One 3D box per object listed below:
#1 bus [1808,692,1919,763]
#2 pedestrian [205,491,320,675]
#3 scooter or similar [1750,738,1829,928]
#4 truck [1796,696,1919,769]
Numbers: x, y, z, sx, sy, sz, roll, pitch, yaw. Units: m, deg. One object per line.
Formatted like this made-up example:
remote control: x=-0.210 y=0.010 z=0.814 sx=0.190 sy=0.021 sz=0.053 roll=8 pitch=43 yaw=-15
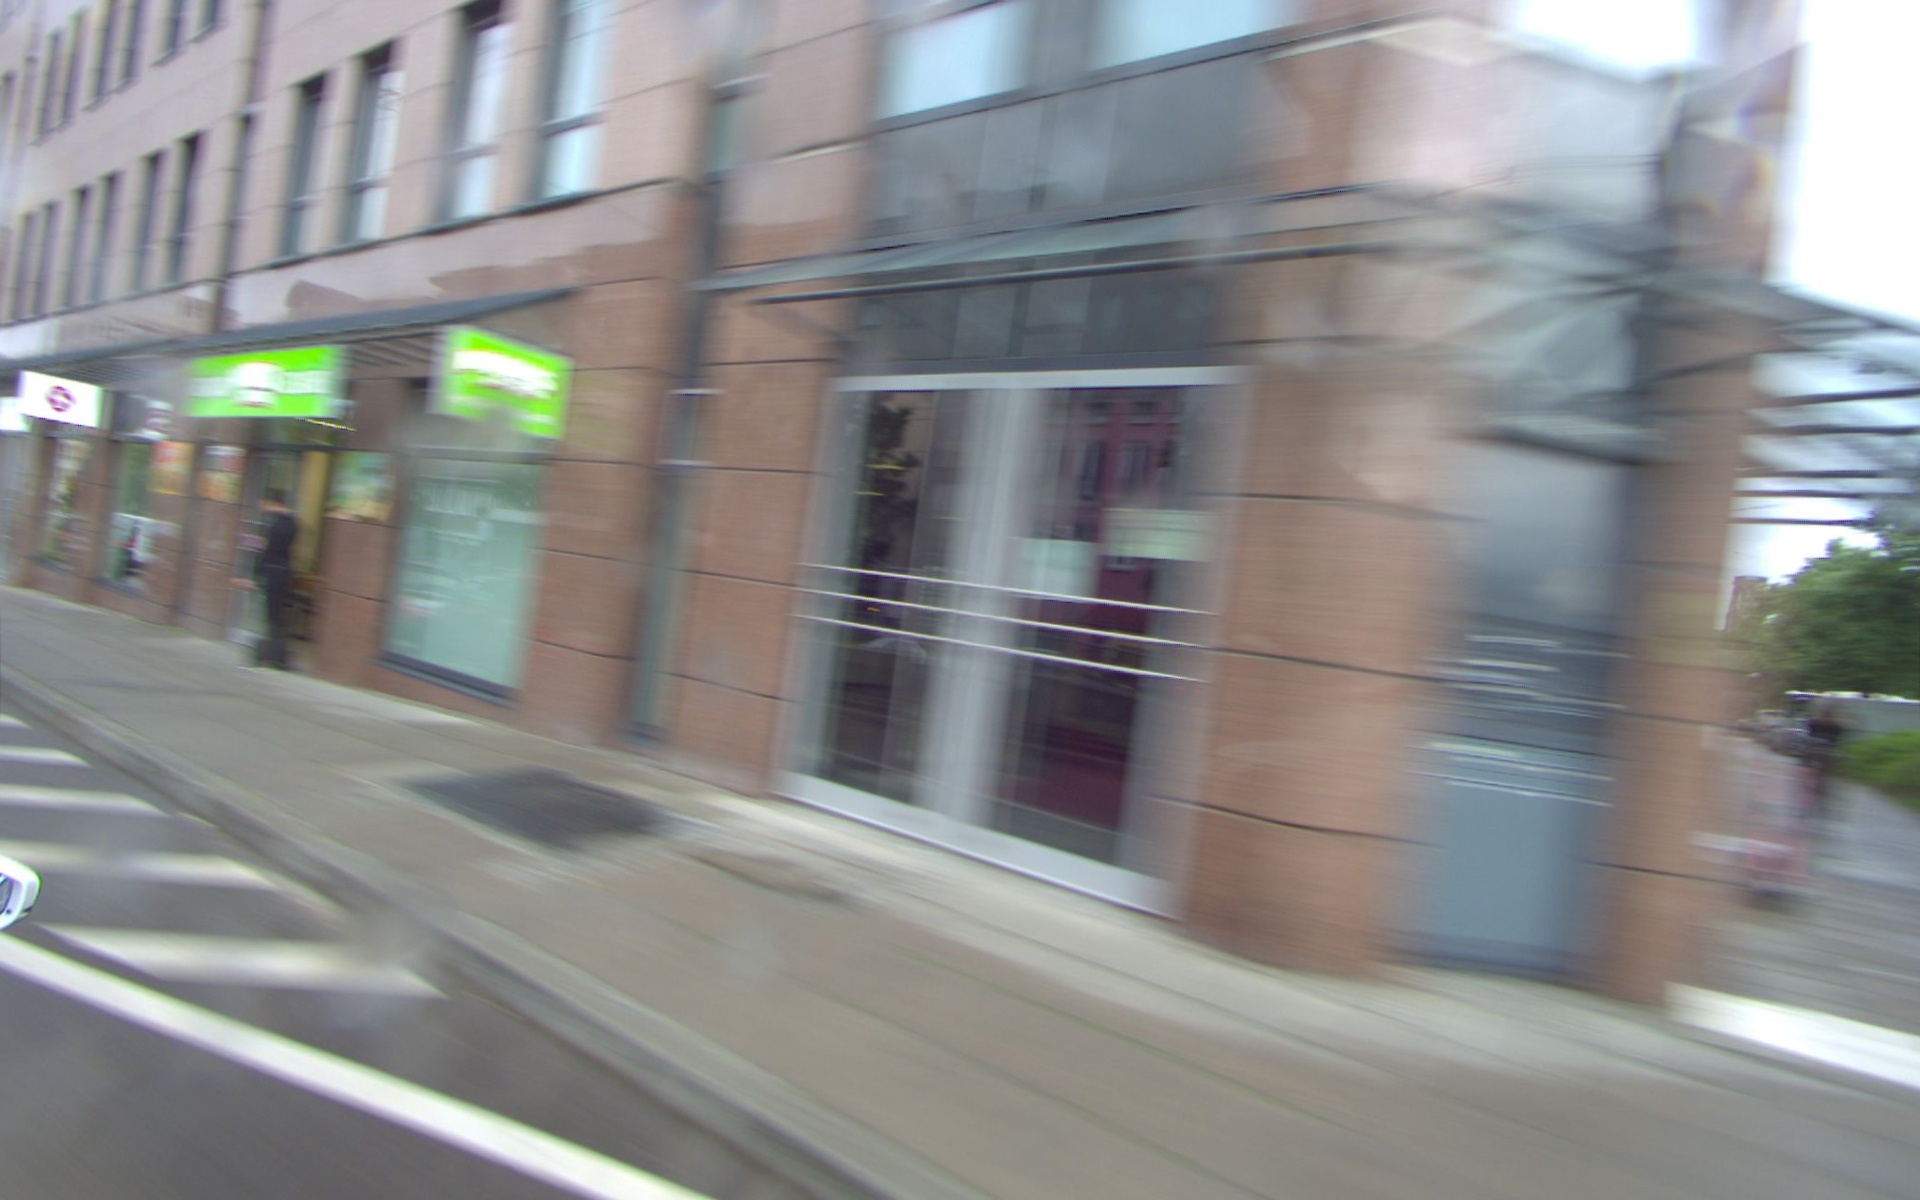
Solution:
bus: x=48.850 y=6.712 z=50.363 sx=2.804 sy=3.054 sz=10.496 roll=7 pitch=-1 yaw=-7
pedestrian: x=-6.694 y=-0.158 z=9.658 sx=0.616 sy=1.679 sz=0.601 roll=6 pitch=0 yaw=36
scooter or similar: x=6.218 y=1.694 z=7.566 sx=0.321 sy=1.242 sz=1.373 roll=6 pitch=-1 yaw=39
truck: x=36.464 y=5.272 z=38.882 sx=5.989 sy=2.305 sz=2.259 roll=6 pitch=-1 yaw=35
